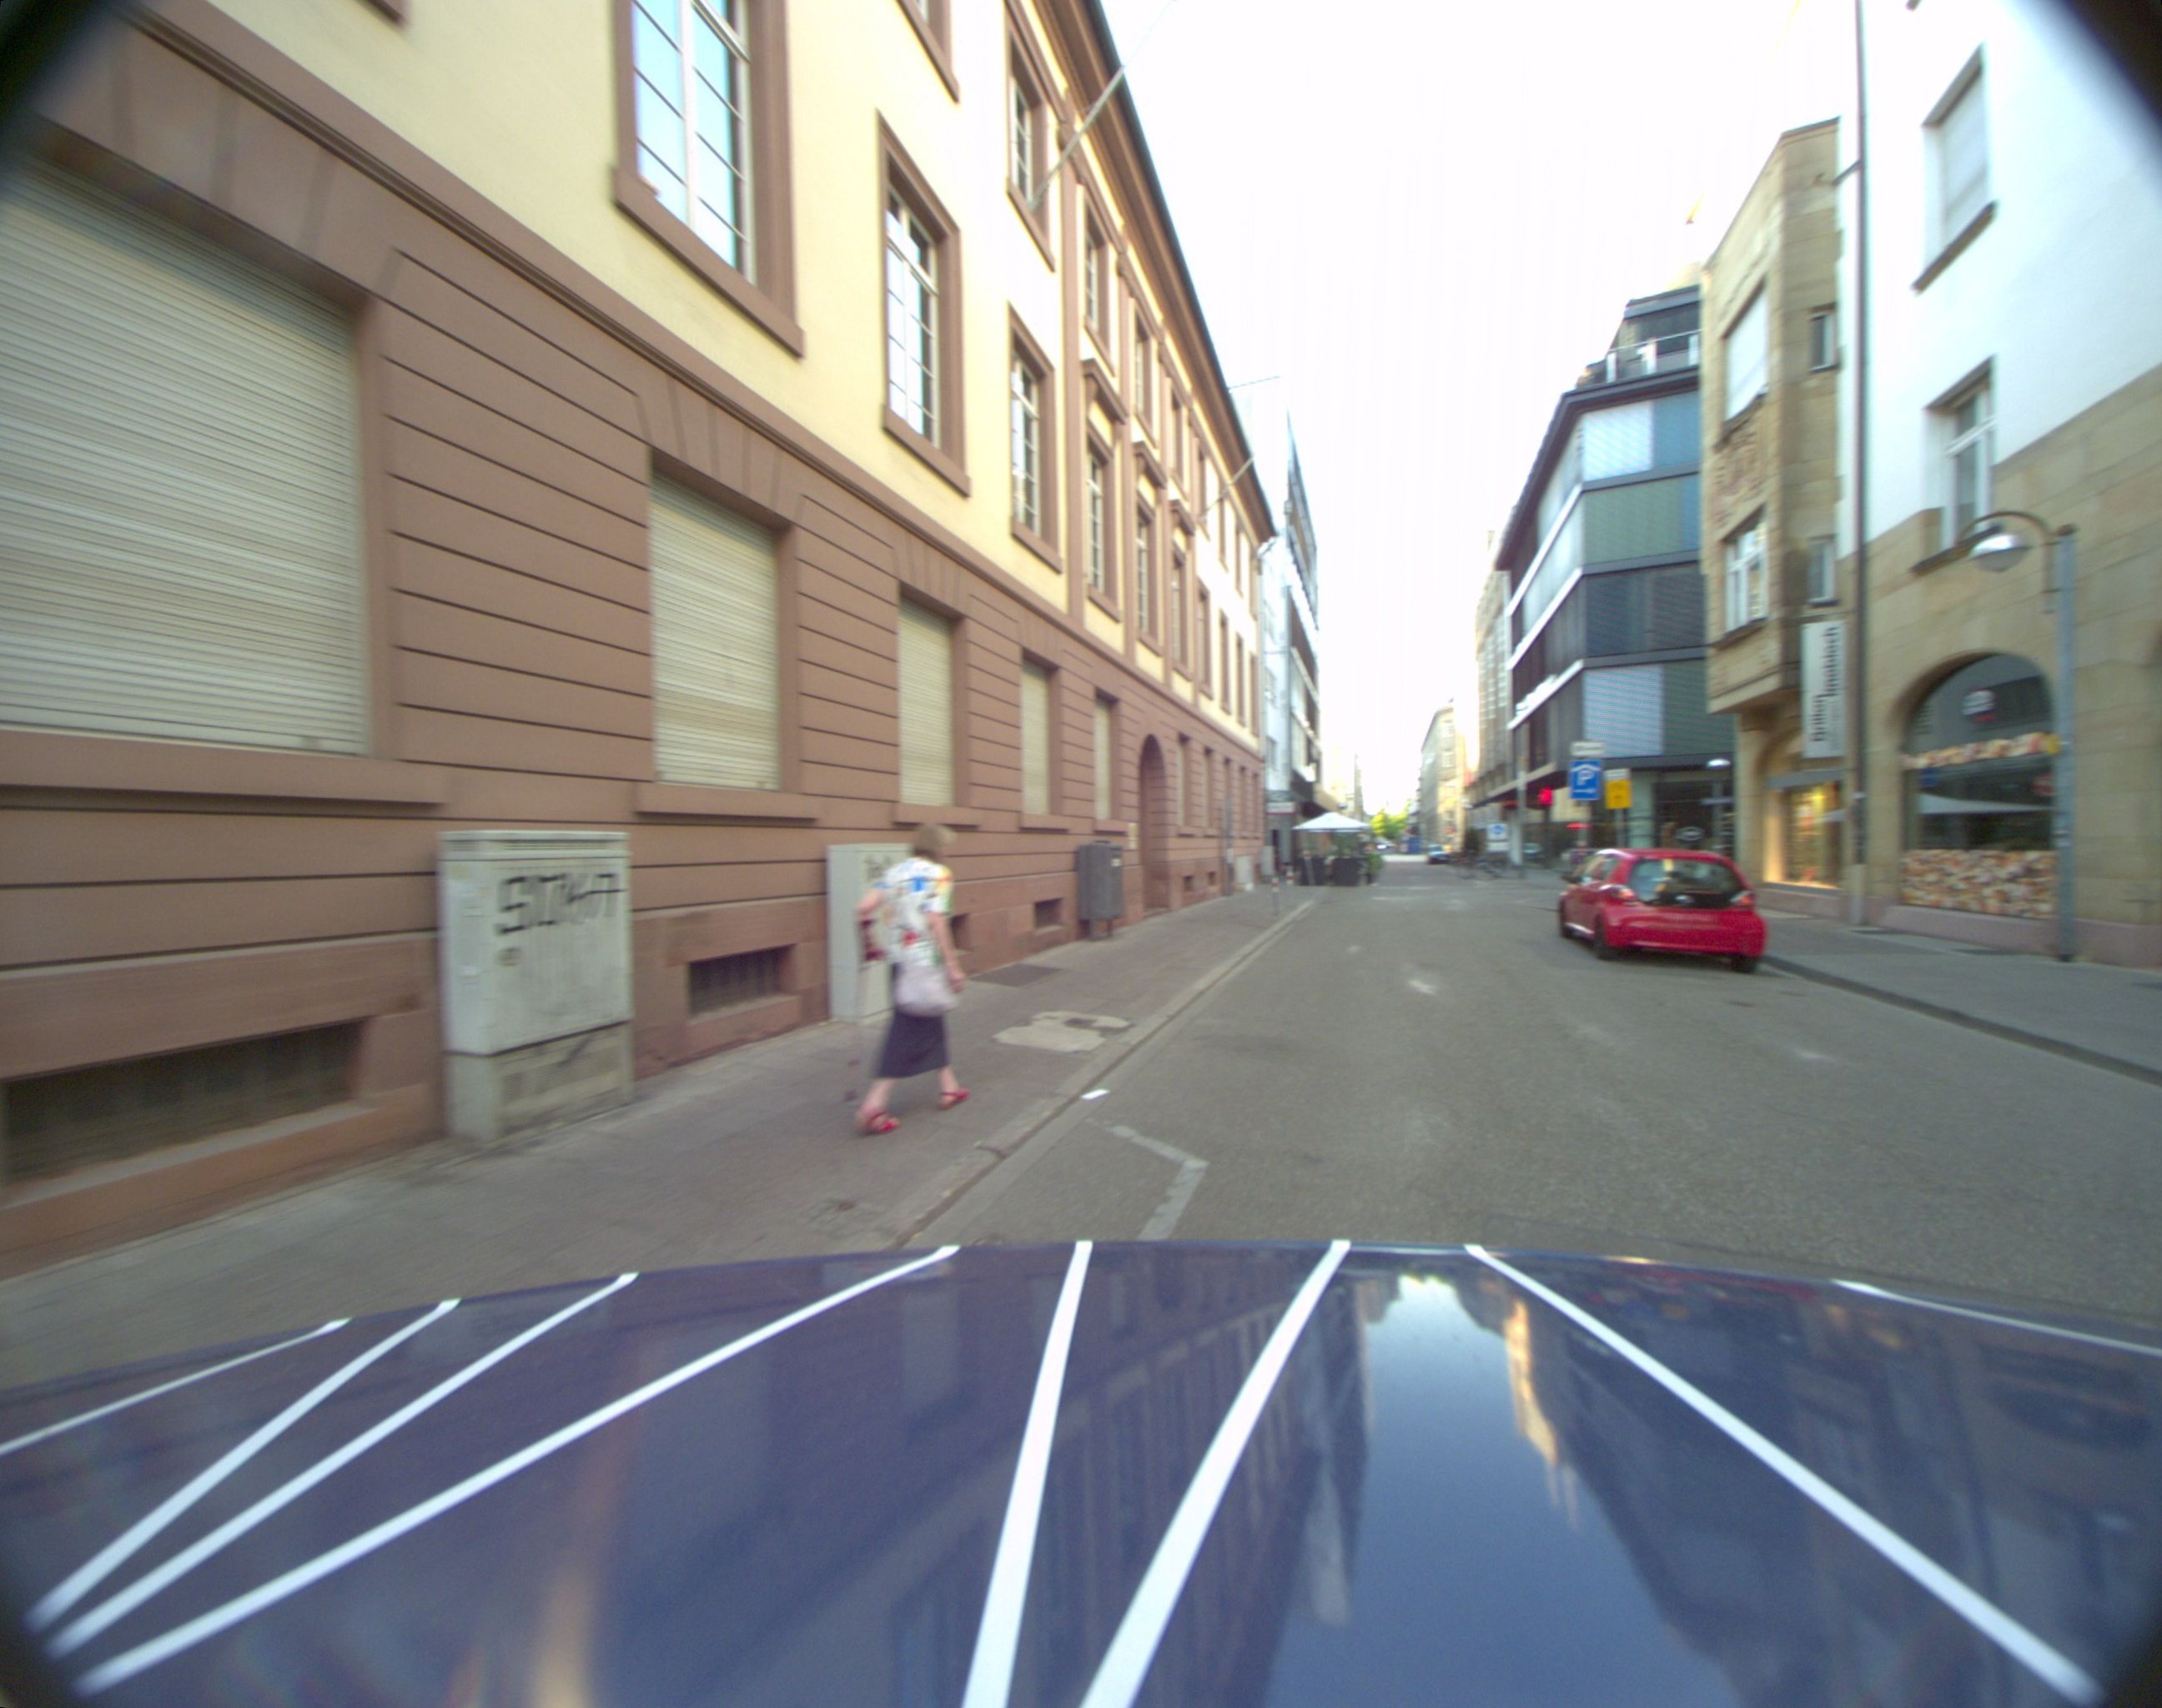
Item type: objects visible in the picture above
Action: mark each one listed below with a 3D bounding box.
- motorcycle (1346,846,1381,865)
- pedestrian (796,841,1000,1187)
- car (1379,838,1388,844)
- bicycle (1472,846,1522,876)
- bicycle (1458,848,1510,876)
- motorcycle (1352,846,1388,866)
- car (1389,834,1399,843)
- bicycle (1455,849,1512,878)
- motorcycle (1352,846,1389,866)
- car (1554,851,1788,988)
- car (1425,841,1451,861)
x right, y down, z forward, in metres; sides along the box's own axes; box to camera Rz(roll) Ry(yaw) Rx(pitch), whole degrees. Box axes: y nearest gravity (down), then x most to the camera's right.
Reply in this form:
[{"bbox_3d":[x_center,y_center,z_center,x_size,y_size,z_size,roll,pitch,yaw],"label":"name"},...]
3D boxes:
[{"bbox_3d":[19.304,0.084,51.842,2.189,1.275,0.652,1,2,23],"label":"motorcycle"},{"bbox_3d":[-1.029,0.759,4.197,0.932,1.662,0.810,-1,2,-26],"label":"pedestrian"},{"bbox_3d":[53.600,-2.279,134.733,1.424,1.090,3.568,-1,0,21],"label":"car"},{"bbox_3d":[15.922,0.275,29.112,1.604,1.112,0.621,-1,1,23],"label":"bicycle"},{"bbox_3d":[17.482,0.351,33.009,1.950,1.124,0.527,-2,1,23],"label":"bicycle"},{"bbox_3d":[19.033,0.109,50.093,2.189,1.275,0.652,1,2,23],"label":"motorcycle"},{"bbox_3d":[50.035,-2.443,121.589,1.424,1.292,3.568,-1,1,21],"label":"car"},{"bbox_3d":[16.181,0.377,30.602,1.950,1.124,0.621,-2,1,23],"label":"bicycle"},{"bbox_3d":[18.720,0.127,49.179,2.189,1.275,0.652,1,2,23],"label":"motorcycle"},{"bbox_3d":[7.690,0.729,10.261,1.634,1.433,3.161,3,2,22],"label":"car"},{"bbox_3d":[26.205,-0.232,55.864,1.424,1.409,3.900,-1,1,21],"label":"car"}]
